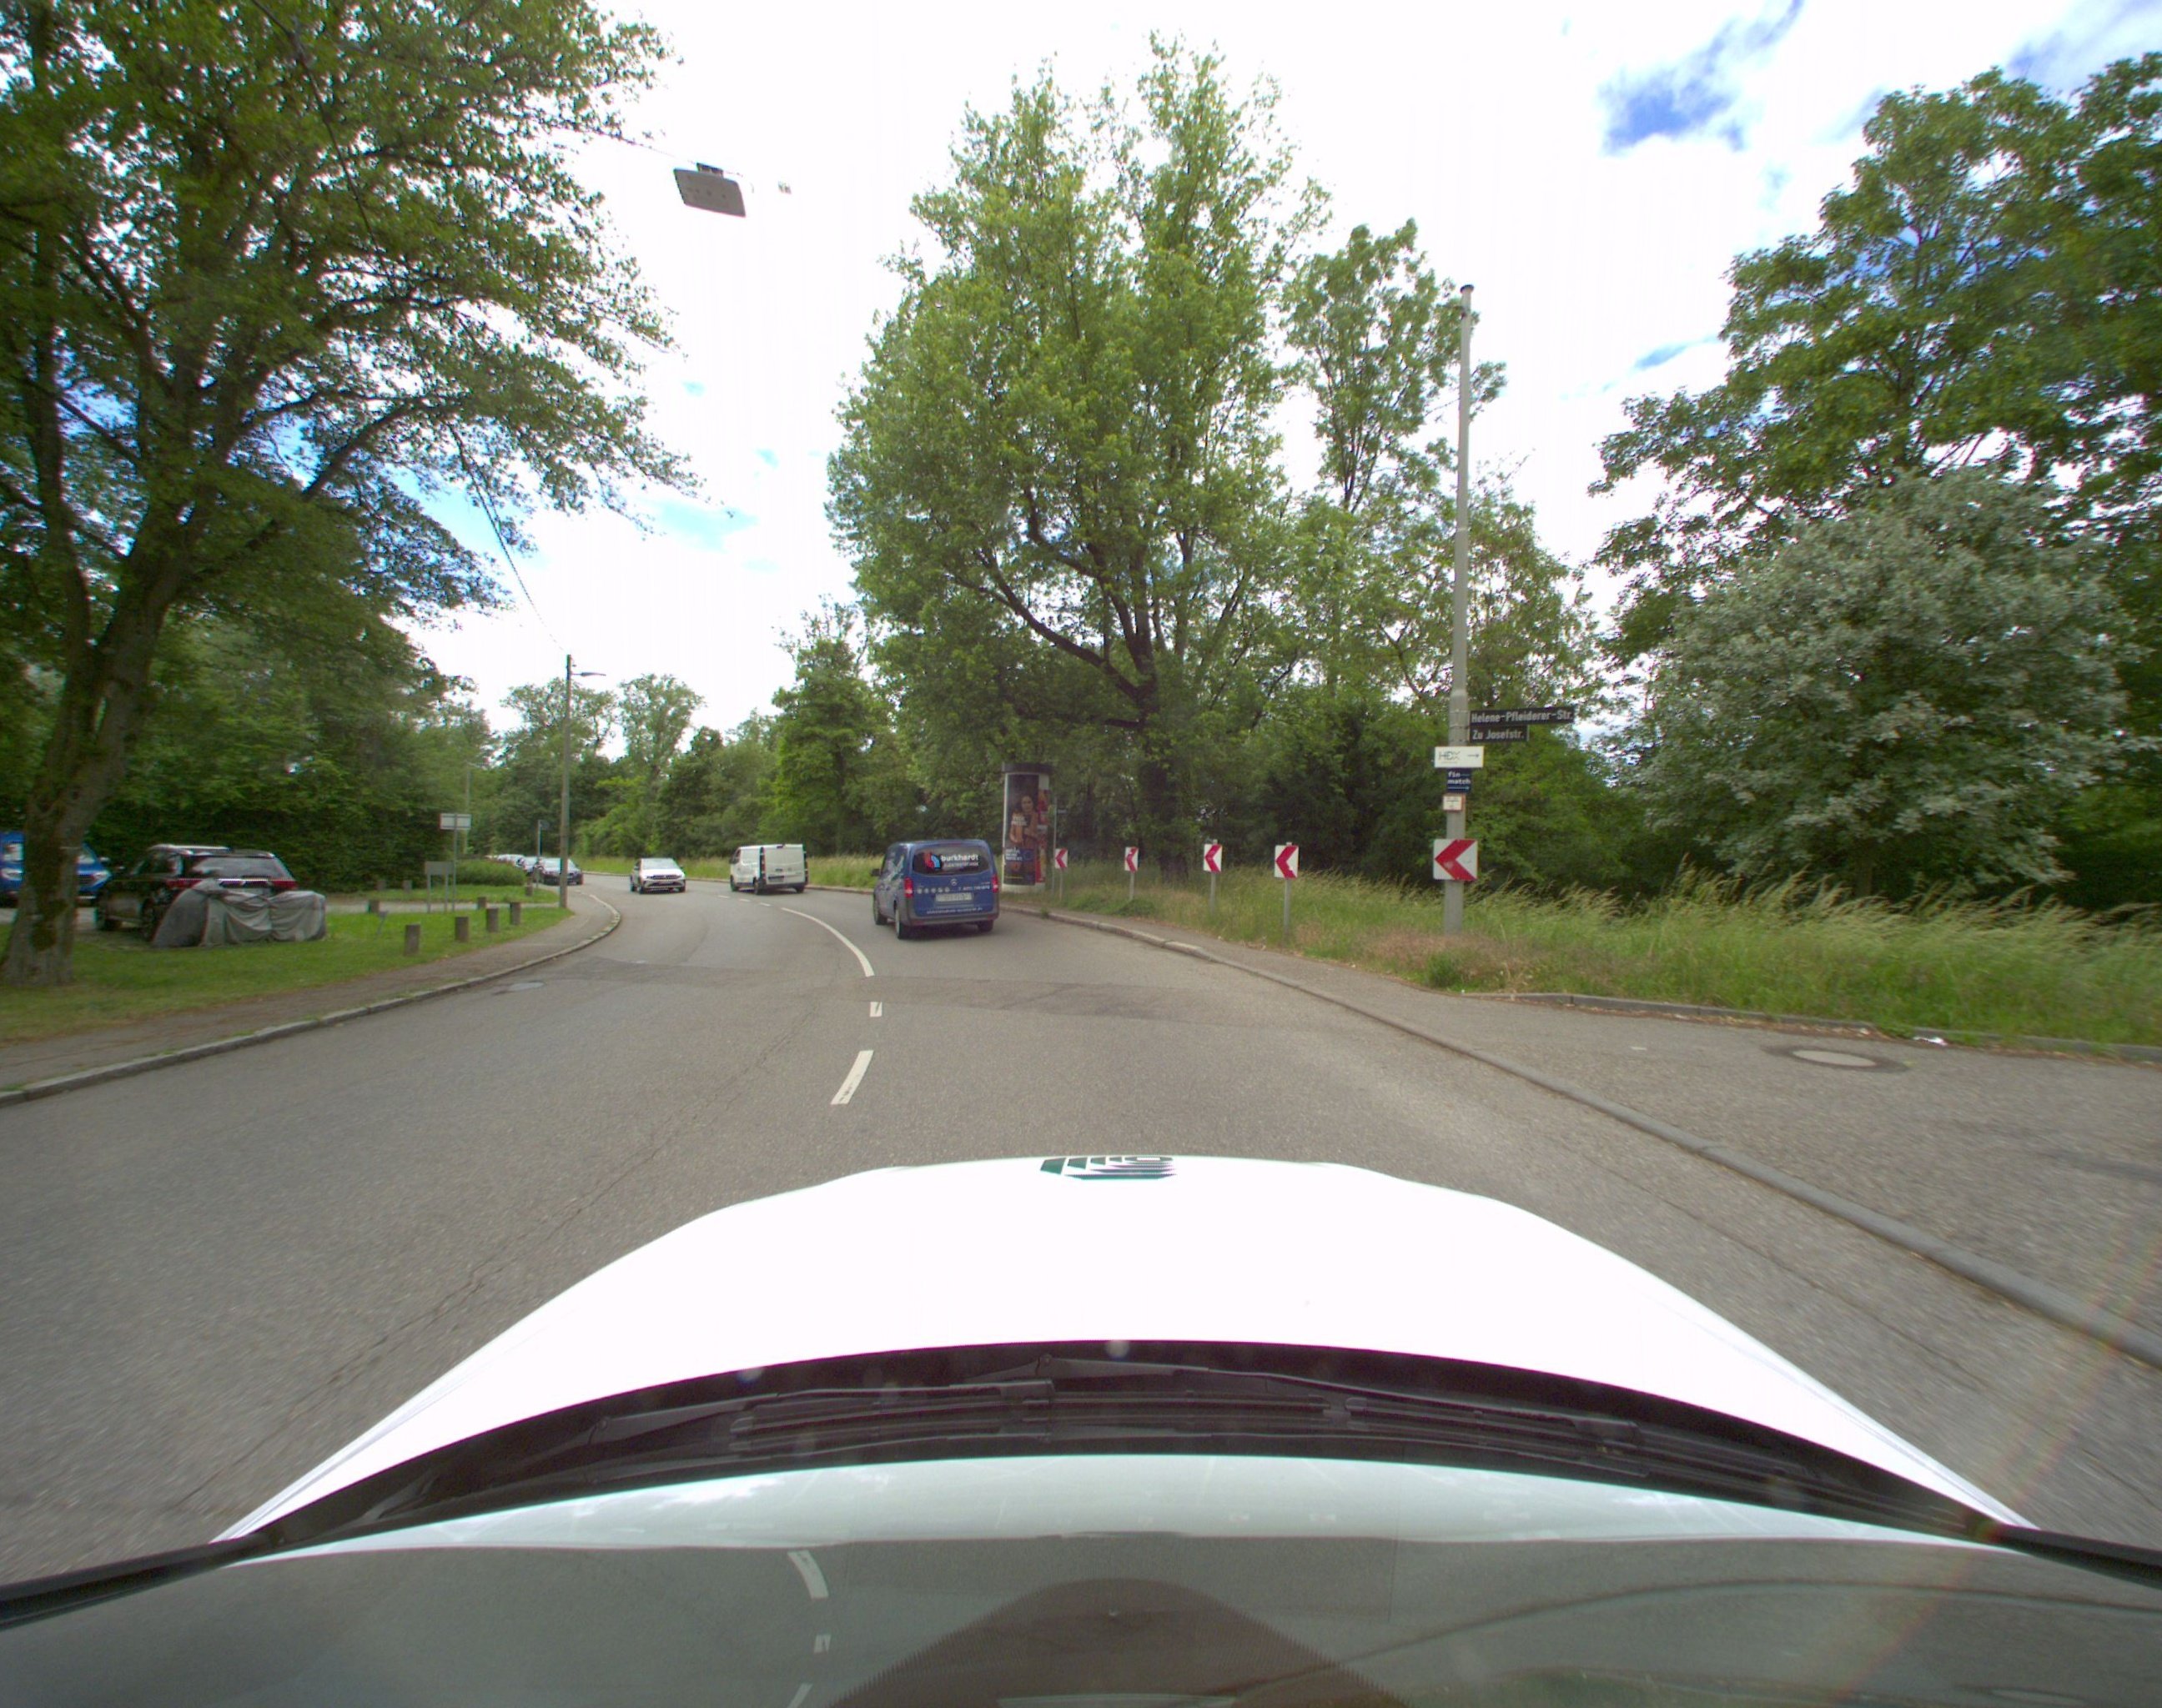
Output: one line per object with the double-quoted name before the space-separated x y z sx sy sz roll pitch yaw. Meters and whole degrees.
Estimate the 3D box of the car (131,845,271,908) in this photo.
"car" -24.347 0.585 22.503 4.217 1.594 1.758 0 -1 31

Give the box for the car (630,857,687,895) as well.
"car" -18.436 0.916 35.435 1.737 1.457 4.036 -4 1 -33

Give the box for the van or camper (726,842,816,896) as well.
"van or camper" -12.766 0.533 33.320 2.036 1.956 4.840 0 1 -39

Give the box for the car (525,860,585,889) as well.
"car" -27.834 1.026 43.054 4.448 1.418 1.751 0 1 45

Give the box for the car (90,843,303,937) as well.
"car" -17.011 0.610 15.636 4.278 1.594 1.758 0 -1 29

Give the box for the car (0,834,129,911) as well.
"car" -25.871 0.390 20.209 4.212 1.732 1.757 1 0 24

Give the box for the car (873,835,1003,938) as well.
"car" -3.127 0.582 17.102 1.920 1.837 4.264 -1 0 -21

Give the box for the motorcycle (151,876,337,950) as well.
"motorcycle" -14.435 0.969 14.119 0.854 1.151 2.079 0 -1 29
